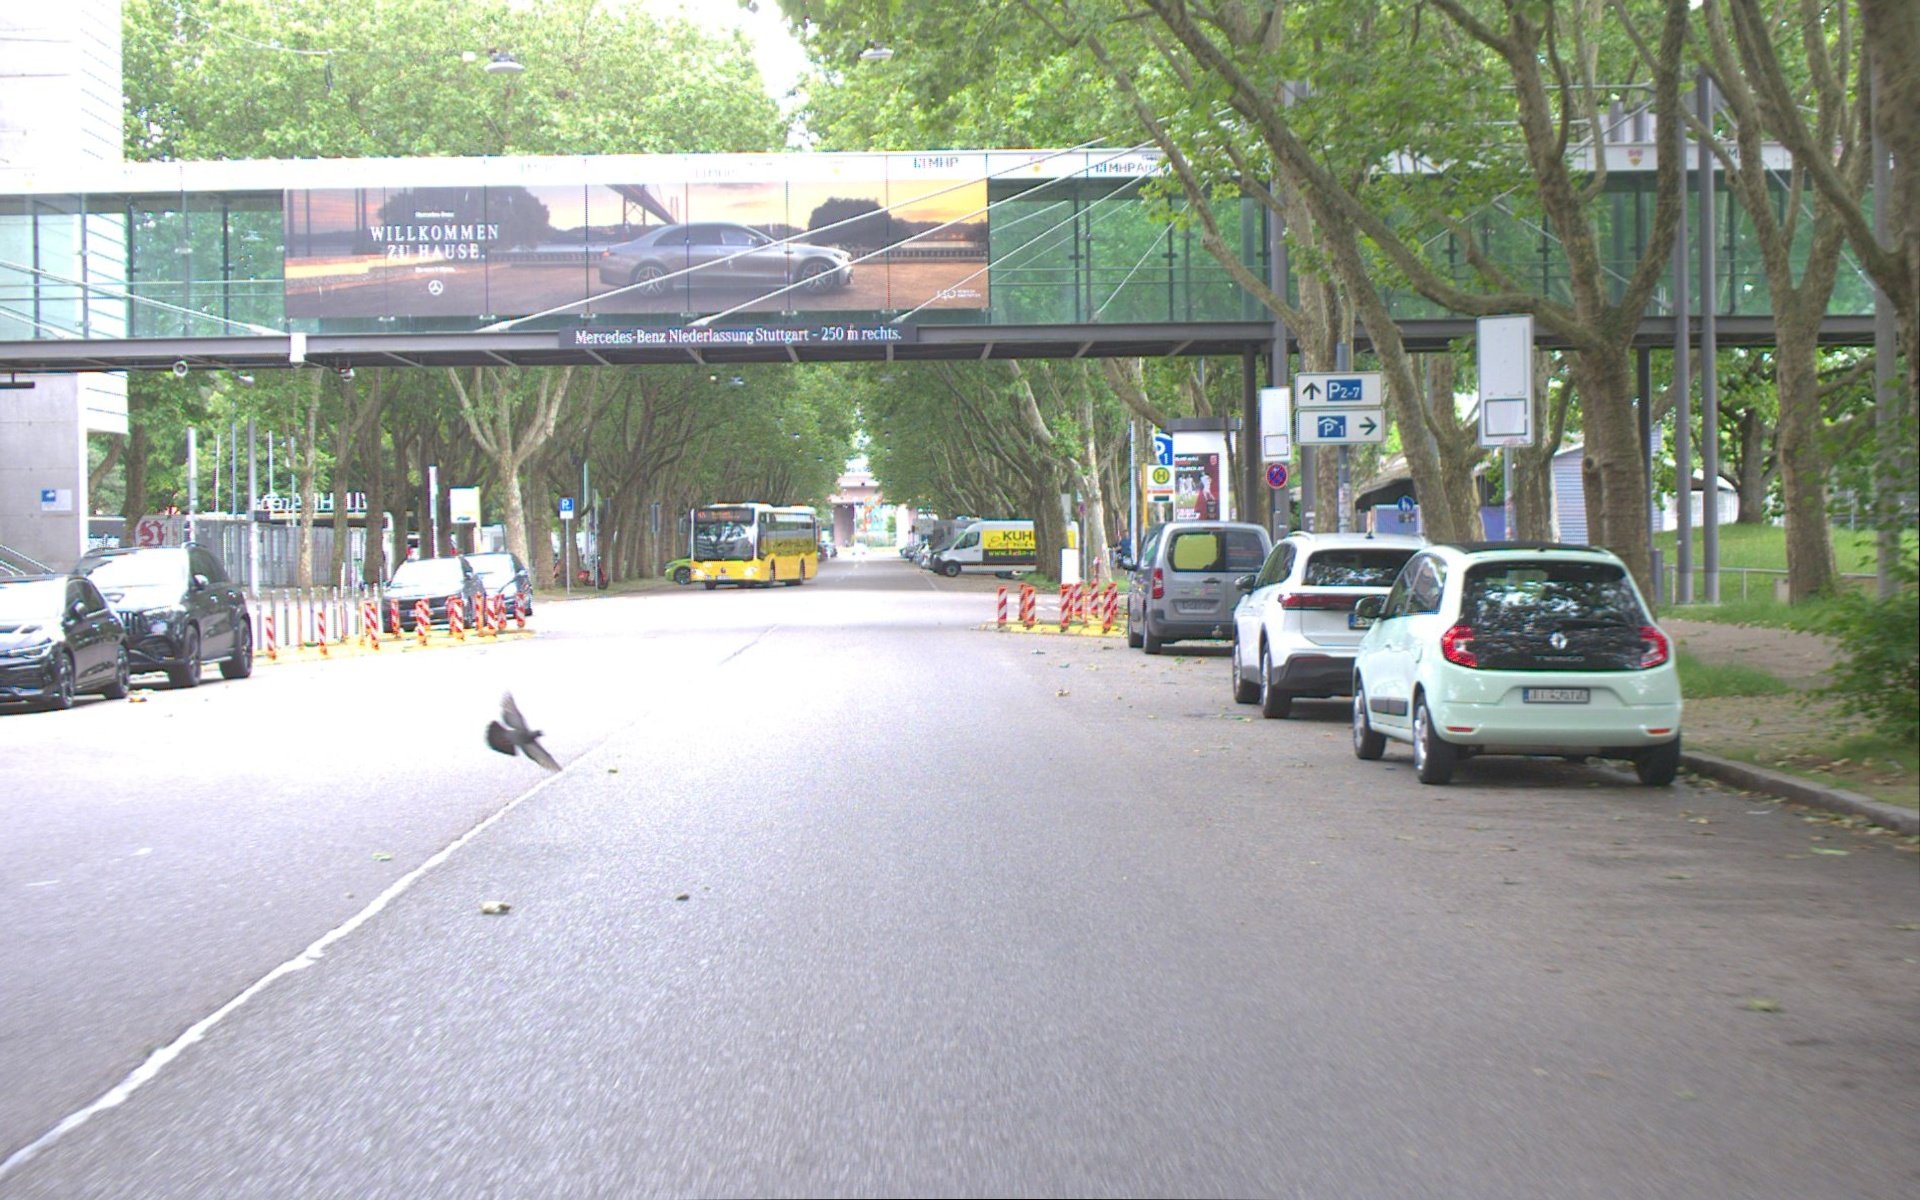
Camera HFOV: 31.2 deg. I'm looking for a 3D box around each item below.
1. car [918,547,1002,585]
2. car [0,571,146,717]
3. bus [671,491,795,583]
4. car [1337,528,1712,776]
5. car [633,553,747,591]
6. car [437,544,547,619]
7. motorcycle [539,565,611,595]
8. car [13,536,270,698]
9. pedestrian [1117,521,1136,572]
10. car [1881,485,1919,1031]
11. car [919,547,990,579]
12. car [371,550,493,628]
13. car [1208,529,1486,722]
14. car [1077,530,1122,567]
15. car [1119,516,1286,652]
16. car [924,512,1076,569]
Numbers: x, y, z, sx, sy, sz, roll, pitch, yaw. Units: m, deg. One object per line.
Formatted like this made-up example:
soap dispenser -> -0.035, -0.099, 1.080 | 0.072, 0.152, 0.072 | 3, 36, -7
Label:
car -> -0.009, -1.627, 165.205 | 3.986, 1.788, 1.543 | -1, 1, -2
car -> -10.262, 0.469, 37.518 | 1.704, 1.415, 4.325 | -3, 1, -1
bus -> -8.381, -2.356, 128.786 | 3.039, 3.149, 12.676 | -3, 1, 3
car -> 3.728, 0.294, 23.368 | 1.807, 1.521, 4.096 | -1, 1, -1
car -> -11.593, -1.224, 147.815 | 4.700, 1.579, 1.864 | -1, 1, 0
car -> -11.005, -0.458, 81.138 | 1.993, 1.579, 4.113 | -3, 1, -1
motorcycle -> -14.445, -0.757, 129.141 | 2.591, 1.119, 0.704 | -1, 1, -24
car -> -10.233, 0.155, 43.381 | 2.034, 1.783, 4.908 | -4, 1, -1
pedestrian -> 6.203, -1.981, 128.151 | 0.572, 1.881, 0.617 | -1, 1, -10
car -> 3.992, 0.500, 8.549 | 1.981, 1.674, 4.732 | -1, 1, -2
car -> -0.322, -2.121, 196.434 | 3.986, 1.788, 1.543 | -1, 1, -2
car -> -11.050, -0.254, 72.178 | 1.858, 1.448, 4.449 | -3, 1, -1
car -> 3.434, 0.184, 31.323 | 1.914, 1.612, 4.749 | -1, 1, -1
car -> 6.807, -2.497, 168.327 | 1.993, 1.766, 4.000 | -1, 1, -1
car -> 3.303, -0.249, 47.768 | 1.847, 1.777, 5.211 | 1, 1, -1
car -> 1.817, -2.724, 157.759 | 6.822, 2.505, 2.317 | -1, 1, -3
